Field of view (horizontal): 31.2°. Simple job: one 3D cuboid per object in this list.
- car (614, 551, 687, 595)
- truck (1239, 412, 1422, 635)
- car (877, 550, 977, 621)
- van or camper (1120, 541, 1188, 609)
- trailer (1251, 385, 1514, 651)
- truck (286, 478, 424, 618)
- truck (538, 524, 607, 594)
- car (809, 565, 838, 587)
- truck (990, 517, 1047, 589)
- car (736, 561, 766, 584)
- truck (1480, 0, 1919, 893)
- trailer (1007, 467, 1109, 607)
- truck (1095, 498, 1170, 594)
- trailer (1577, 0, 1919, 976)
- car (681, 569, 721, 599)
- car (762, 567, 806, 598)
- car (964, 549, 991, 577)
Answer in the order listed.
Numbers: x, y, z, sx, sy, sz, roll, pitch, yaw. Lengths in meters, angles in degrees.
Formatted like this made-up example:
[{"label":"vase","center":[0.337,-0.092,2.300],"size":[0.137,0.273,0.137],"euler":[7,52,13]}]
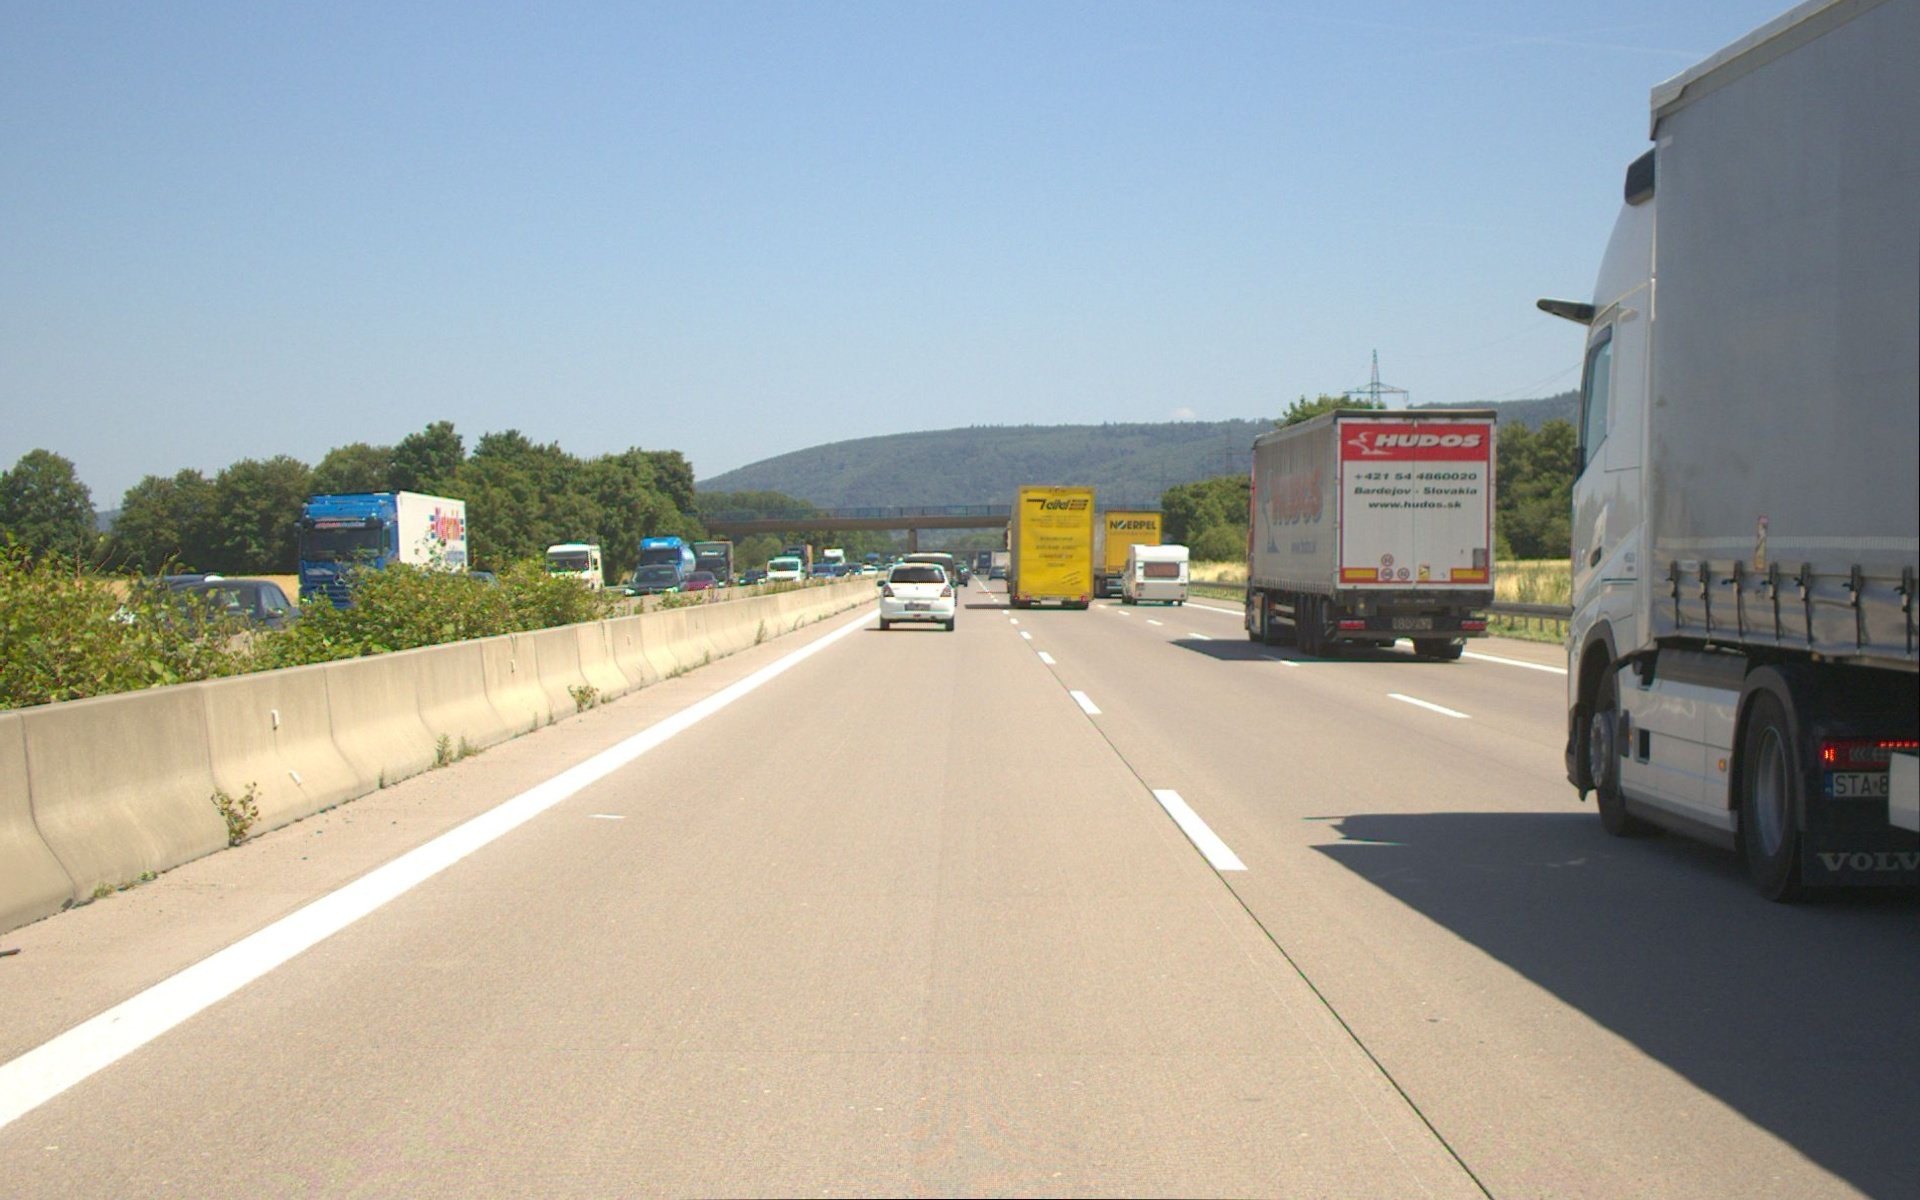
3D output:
[{"label":"car","center":[-9.907,-0.885,110.297],"size":[1.898,1.321,5.069],"euler":[1,1,0]},{"label":"truck","center":[7.150,-1.465,67.073],"size":[2.906,4.086,6.272],"euler":[1,1,1]},{"label":"car","center":[-0.728,-0.343,78.238],"size":[2.107,1.530,4.122],"euler":[1,1,1]},{"label":"van or camper","center":[7.402,-0.973,131.668],"size":[2.224,2.522,5.431],"euler":[1,1,0]},{"label":"trailer","center":[7.168,-1.372,60.455],"size":[2.874,4.086,13.513],"euler":[1,1,0]},{"label":"truck","center":[-17.314,-1.480,98.704],"size":[2.897,3.850,5.685],"euler":[1,1,0]},{"label":"truck","center":[-17.672,-1.863,156.944],"size":[2.322,3.073,6.978],"euler":[1,1,0]},{"label":"car","center":[-9.042,-1.588,227.457],"size":[1.779,1.344,4.453],"euler":[2,1,-1]},{"label":"truck","center":[3.120,-2.528,184.499],"size":[2.820,3.748,6.284],"euler":[1,1,0]},{"label":"car","center":[-13.816,-1.819,227.748],"size":[1.719,1.443,4.708],"euler":[1,1,0]},{"label":"truck","center":[4.825,-0.716,18.435],"size":[2.984,4.048,5.478],"euler":[1,1,-2]},{"label":"trailer","center":[3.334,-2.171,120.517],"size":[3.216,4.548,13.457],"euler":[1,1,0]},{"label":"truck","center":[8.033,-2.525,161.104],"size":[2.999,4.299,9.684],"euler":[1,1,0]},{"label":"trailer","center":[5.064,-0.612,11.250],"size":[3.017,4.047,14.208],"euler":[1,1,-2]},{"label":"car","center":[-13.242,-0.841,175.882],"size":[1.688,1.454,4.487],"euler":[2,1,0]},{"label":"car","center":[-9.873,-0.991,193.199],"size":[2.138,1.673,5.645],"euler":[0,1,0]},{"label":"car","center":[1.191,-2.553,235.240],"size":[1.784,1.875,4.000],"euler":[1,1,0]}]
